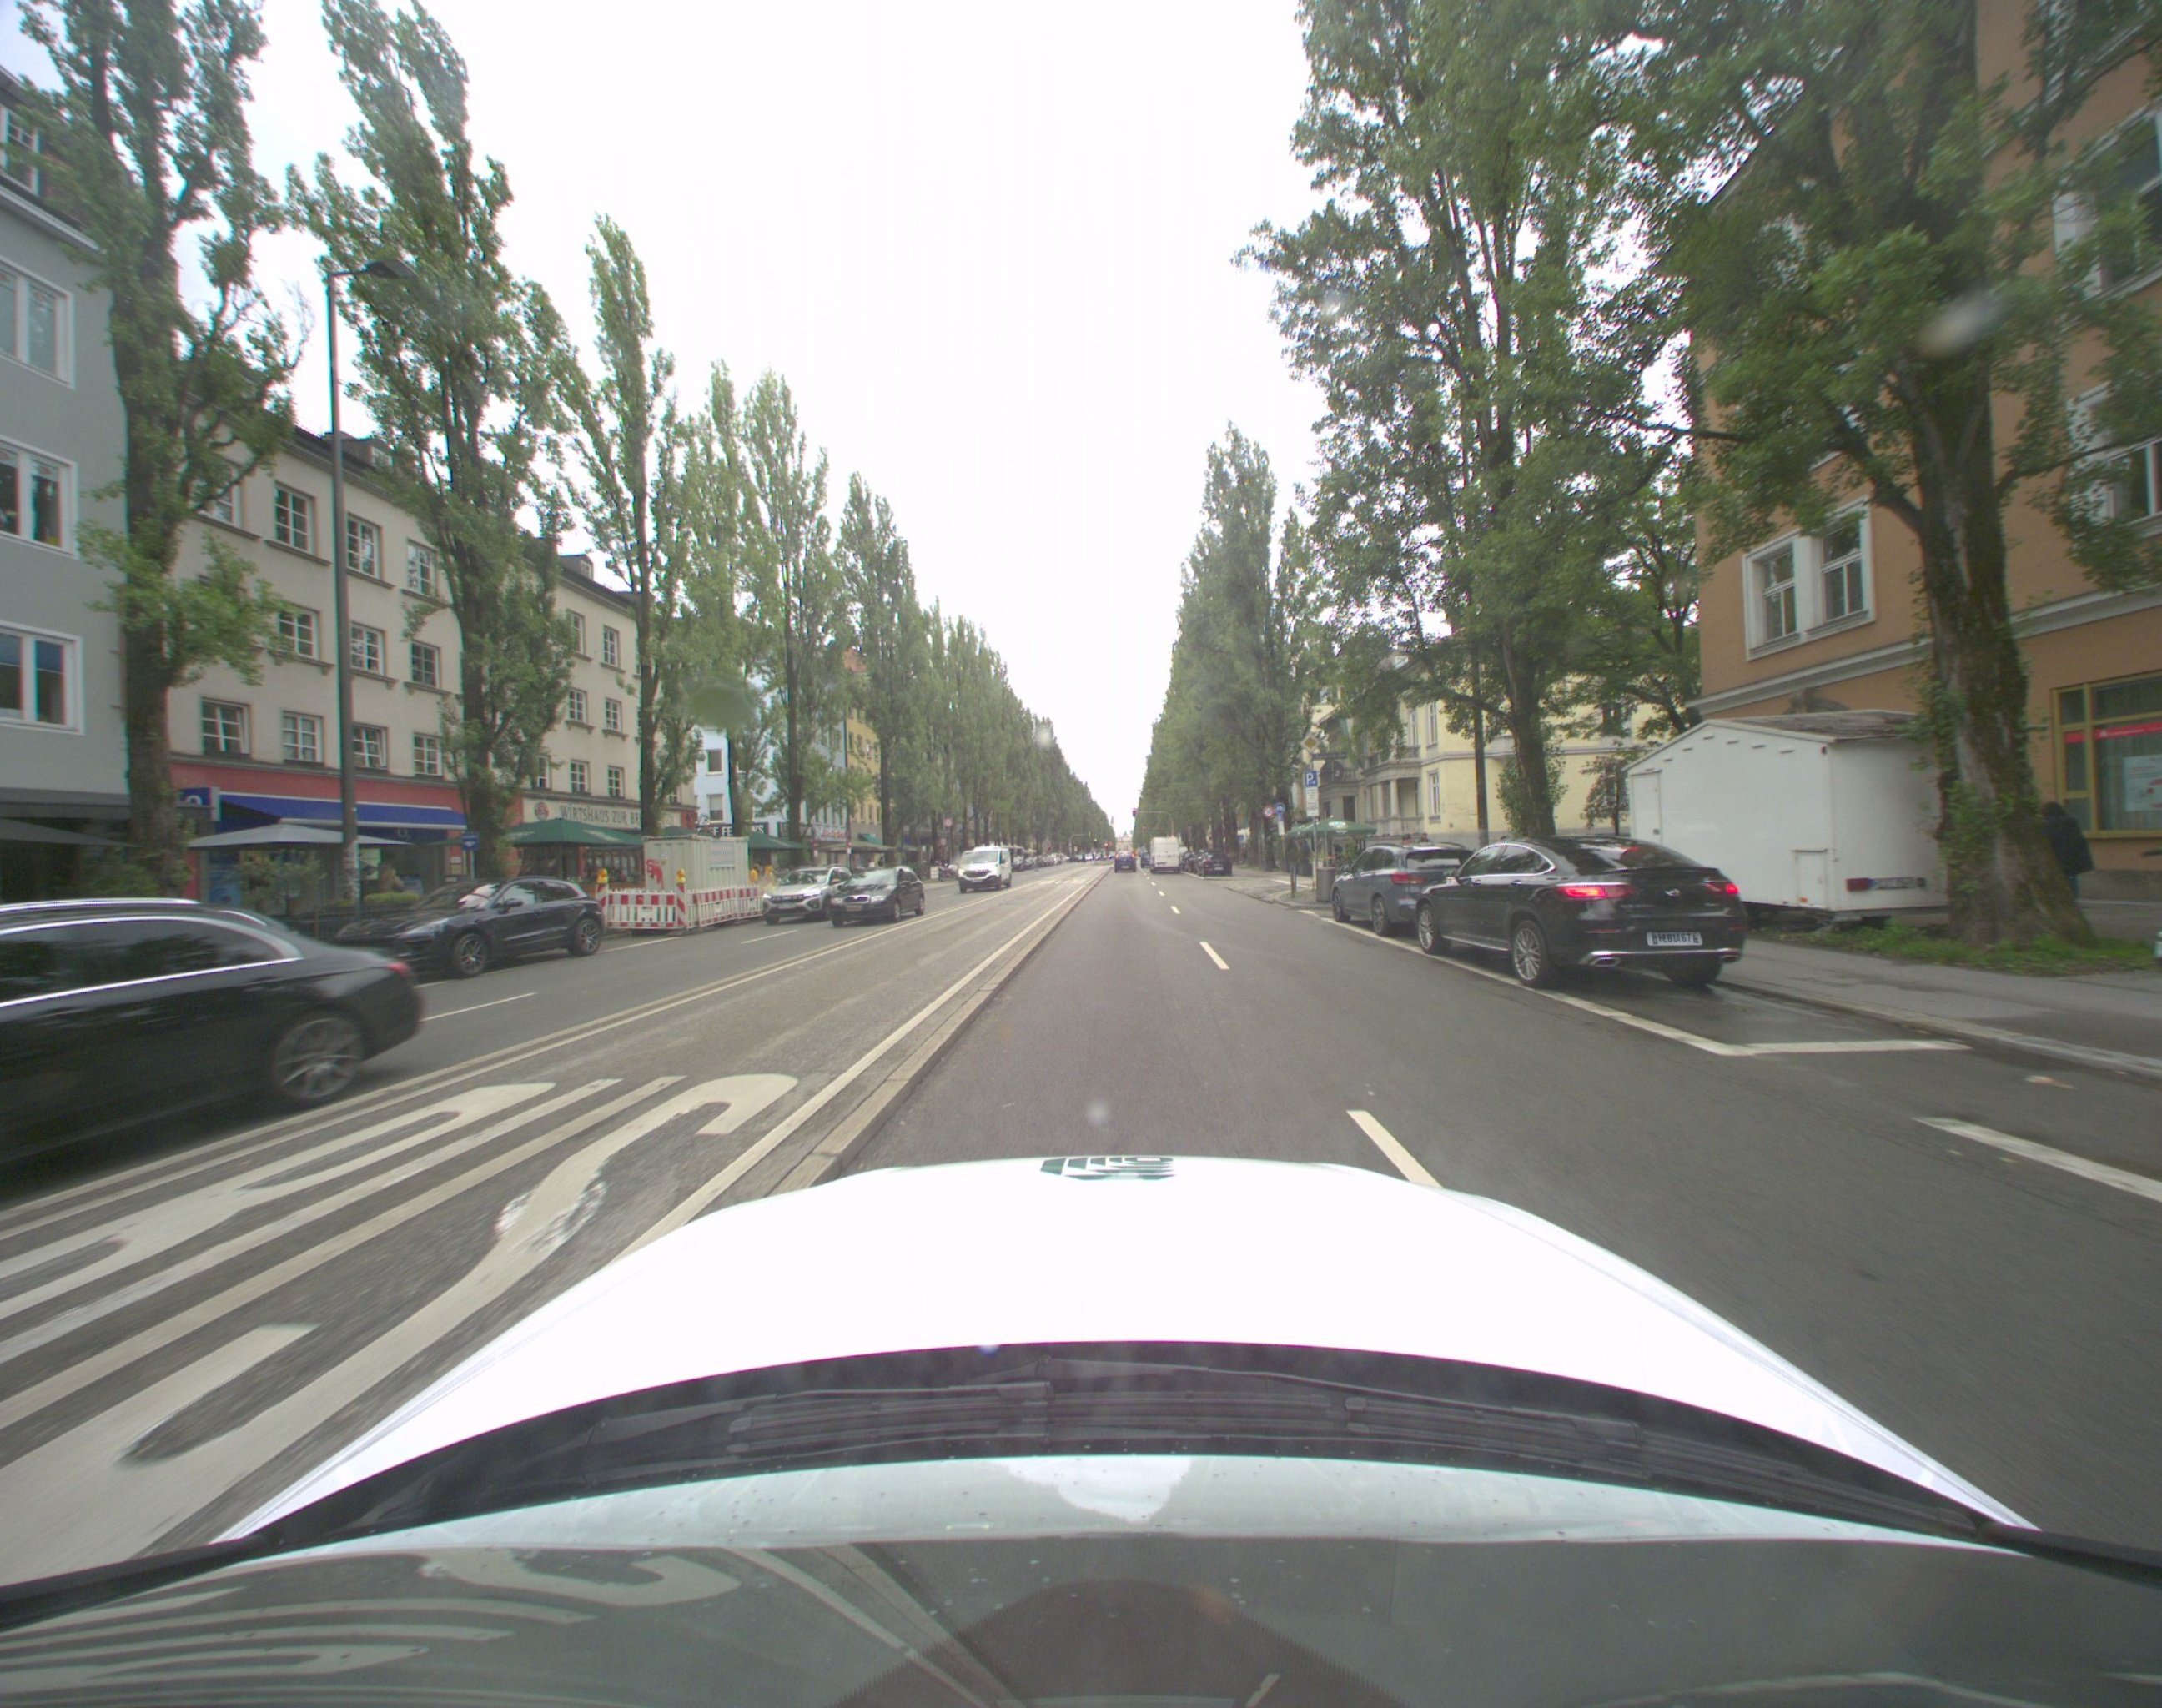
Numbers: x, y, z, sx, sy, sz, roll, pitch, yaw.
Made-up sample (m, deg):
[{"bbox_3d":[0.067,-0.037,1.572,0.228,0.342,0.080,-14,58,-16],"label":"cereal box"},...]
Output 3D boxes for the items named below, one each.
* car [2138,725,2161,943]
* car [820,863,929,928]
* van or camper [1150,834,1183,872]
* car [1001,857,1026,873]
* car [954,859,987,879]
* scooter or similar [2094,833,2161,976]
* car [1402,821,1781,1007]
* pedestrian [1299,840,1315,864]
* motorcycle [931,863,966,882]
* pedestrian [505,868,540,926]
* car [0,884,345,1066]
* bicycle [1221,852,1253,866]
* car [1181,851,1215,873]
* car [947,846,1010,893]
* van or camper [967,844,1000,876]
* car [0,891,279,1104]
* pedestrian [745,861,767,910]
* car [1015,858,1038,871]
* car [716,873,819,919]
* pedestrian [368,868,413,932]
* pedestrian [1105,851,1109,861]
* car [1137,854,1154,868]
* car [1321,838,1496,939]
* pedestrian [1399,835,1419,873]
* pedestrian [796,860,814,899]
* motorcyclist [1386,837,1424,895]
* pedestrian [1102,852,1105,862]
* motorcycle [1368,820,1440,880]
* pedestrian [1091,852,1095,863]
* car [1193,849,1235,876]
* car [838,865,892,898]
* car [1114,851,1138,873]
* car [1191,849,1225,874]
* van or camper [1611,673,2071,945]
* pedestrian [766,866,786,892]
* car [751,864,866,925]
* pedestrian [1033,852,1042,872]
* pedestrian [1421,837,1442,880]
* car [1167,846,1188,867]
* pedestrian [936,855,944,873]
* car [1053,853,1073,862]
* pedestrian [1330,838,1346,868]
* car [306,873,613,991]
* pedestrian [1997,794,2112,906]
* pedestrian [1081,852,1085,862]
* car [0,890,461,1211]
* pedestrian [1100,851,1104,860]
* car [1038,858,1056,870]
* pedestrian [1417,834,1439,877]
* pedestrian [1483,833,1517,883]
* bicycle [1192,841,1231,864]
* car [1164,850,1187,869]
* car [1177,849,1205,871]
[{"bbox_3d":[11.880,-0.230,6.289,1.887,2.328,4.844,-3,0,14],"label":"car"},{"bbox_3d":[-5.257,1.007,21.226,1.705,1.414,3.725,-3,0,2],"label":"car"},{"bbox_3d":[5.991,-0.007,57.430,2.026,2.475,4.002,-2,-2,2],"label":"van or camper"},{"bbox_3d":[-6.927,1.140,84.286,1.984,1.486,4.004,-1,-1,4],"label":"car"},{"bbox_3d":[-8.355,1.101,61.795,1.788,1.429,4.002,-1,-1,2],"label":"car"},{"bbox_3d":[9.690,0.448,6.922,0.521,1.232,1.483,-4,0,15],"label":"scooter or similar"},{"bbox_3d":[5.627,0.552,9.848,1.872,1.642,4.587,-3,0,3],"label":"car"},{"bbox_3d":[17.073,-0.147,61.536,0.805,1.755,0.939,-3,0,35],"label":"pedestrian"},{"bbox_3d":[-8.904,1.237,55.089,1.231,1.140,3.725,-2,0,8],"label":"motorcycle"},{"bbox_3d":[-18.400,1.401,26.848,0.636,1.862,0.648,-3,0,2],"label":"pedestrian"},{"bbox_3d":[-11.288,1.281,8.767,1.985,1.596,4.897,-3,0,4],"label":"car"},{"bbox_3d":[12.271,0.424,64.129,0.764,1.023,2.706,-2,0,-32],"label":"bicycle"},{"bbox_3d":[8.449,0.584,59.103,1.985,1.464,4.002,-1,-1,2],"label":"car"},{"bbox_3d":[-4.761,0.729,38.605,1.986,1.934,4.921,-4,-1,2],"label":"car"},{"bbox_3d":[-8.097,0.487,68.139,1.985,2.458,4.254,-2,0,2],"label":"van or camper"},{"bbox_3d":[-9.239,1.180,6.245,1.841,1.564,4.214,-3,-1,3],"label":"car"},{"bbox_3d":[-11.577,1.125,29.042,0.479,1.701,0.576,-2,0,2],"label":"pedestrian"},{"bbox_3d":[-6.305,1.238,94.507,1.983,1.420,4.007,-1,-1,6],"label":"car"},{"bbox_3d":[-10.218,1.348,26.875,1.803,1.250,3.702,-2,0,2],"label":"car"},{"bbox_3d":[-19.078,1.254,22.510,0.636,1.700,0.648,-3,0,2],"label":"pedestrian"},{"bbox_3d":[4.551,0.293,142.406,0.551,1.716,0.493,-3,0,3],"label":"pedestrian"},{"bbox_3d":[6.194,0.657,78.664,1.498,1.313,3.285,-2,0,2],"label":"car"},{"bbox_3d":[5.931,0.545,15.317,1.617,1.565,4.373,-3,0,2],"label":"car"},{"bbox_3d":[14.402,-0.001,35.760,0.643,1.647,0.768,-1,-1,12],"label":"pedestrian"},{"bbox_3d":[-12.855,1.181,37.961,0.666,1.787,0.826,-1,-1,-13],"label":"pedestrian"},{"bbox_3d":[8.169,0.285,20.544,0.562,1.406,0.765,-3,0,-1],"label":"motorcyclist"},{"bbox_3d":[3.892,0.482,141.335,0.551,1.716,0.493,-3,0,3],"label":"pedestrian"},{"bbox_3d":[8.122,-0.097,20.619,0.824,1.370,2.251,-3,0,-1],"label":"motorcycle"},{"bbox_3d":[2.032,0.612,140.671,0.551,1.716,0.493,-3,0,3],"label":"pedestrian"},{"bbox_3d":[7.907,0.497,48.720,1.936,1.467,4.002,-3,0,2],"label":"car"},{"bbox_3d":[-10.080,1.257,38.141,1.506,1.344,3.239,-3,0,2],"label":"car"},{"bbox_3d":[3.531,0.615,63.729,1.752,1.619,3.750,-1,-1,3],"label":"car"},{"bbox_3d":[8.397,0.453,54.247,1.778,1.525,3.943,-2,0,2],"label":"car"},{"bbox_3d":[10.591,-0.541,12.083,2.450,3.112,4.720,-3,0,3],"label":"van or camper"},{"bbox_3d":[-18.873,1.545,50.441,0.791,1.542,0.898,-2,0,2],"label":"pedestrian"},{"bbox_3d":[-7.827,1.125,23.827,1.819,1.532,4.001,-3,-1,2],"label":"car"},{"bbox_3d":[-4.453,0.840,83.807,0.809,2.013,0.718,-2,0,-7],"label":"pedestrian"},{"bbox_3d":[13.829,0.182,32.123,0.662,1.650,0.630,-2,0,29],"label":"pedestrian"},{"bbox_3d":[9.584,0.286,81.010,1.797,1.992,4.002,-1,-1,2],"label":"car"},{"bbox_3d":[-14.518,1.002,83.930,0.579,1.856,0.676,-2,0,6],"label":"pedestrian"},{"bbox_3d":[-3.590,0.715,162.468,3.981,1.745,1.996,-1,-1,-6],"label":"car"},{"bbox_3d":[16.565,-0.063,52.492,0.758,1.853,0.740,-3,0,-1],"label":"pedestrian"},{"bbox_3d":[-10.748,1.244,14.598,1.840,1.564,4.339,-3,0,5],"label":"car"},{"bbox_3d":[14.895,-0.055,12.485,0.727,1.626,0.805,-3,0,3],"label":"pedestrian"},{"bbox_3d":[0.421,0.572,141.308,0.551,1.716,0.493,-3,0,3],"label":"pedestrian"},{"bbox_3d":[-6.273,1.084,4.385,1.986,1.432,4.775,-4,0,2],"label":"car"},{"bbox_3d":[4.691,0.273,181.234,0.767,2.014,0.898,-1,-1,2],"label":"pedestrian"},{"bbox_3d":[-4.652,1.360,112.368,1.922,1.486,4.115,-3,0,4],"label":"car"},{"bbox_3d":[15.219,0.080,35.711,0.696,1.873,0.768,-1,-1,12],"label":"pedestrian"},{"bbox_3d":[14.134,0.137,27.490,0.684,1.628,0.776,-2,0,0],"label":"pedestrian"},{"bbox_3d":[12.114,-0.142,75.555,3.526,2.014,1.301,-1,-1,11],"label":"bicycle"},{"bbox_3d":[8.685,0.520,74.993,1.755,1.596,4.002,-1,-1,2],"label":"car"},{"bbox_3d":[8.550,0.466,63.665,1.797,1.596,4.002,-1,-1,2],"label":"car"}]
